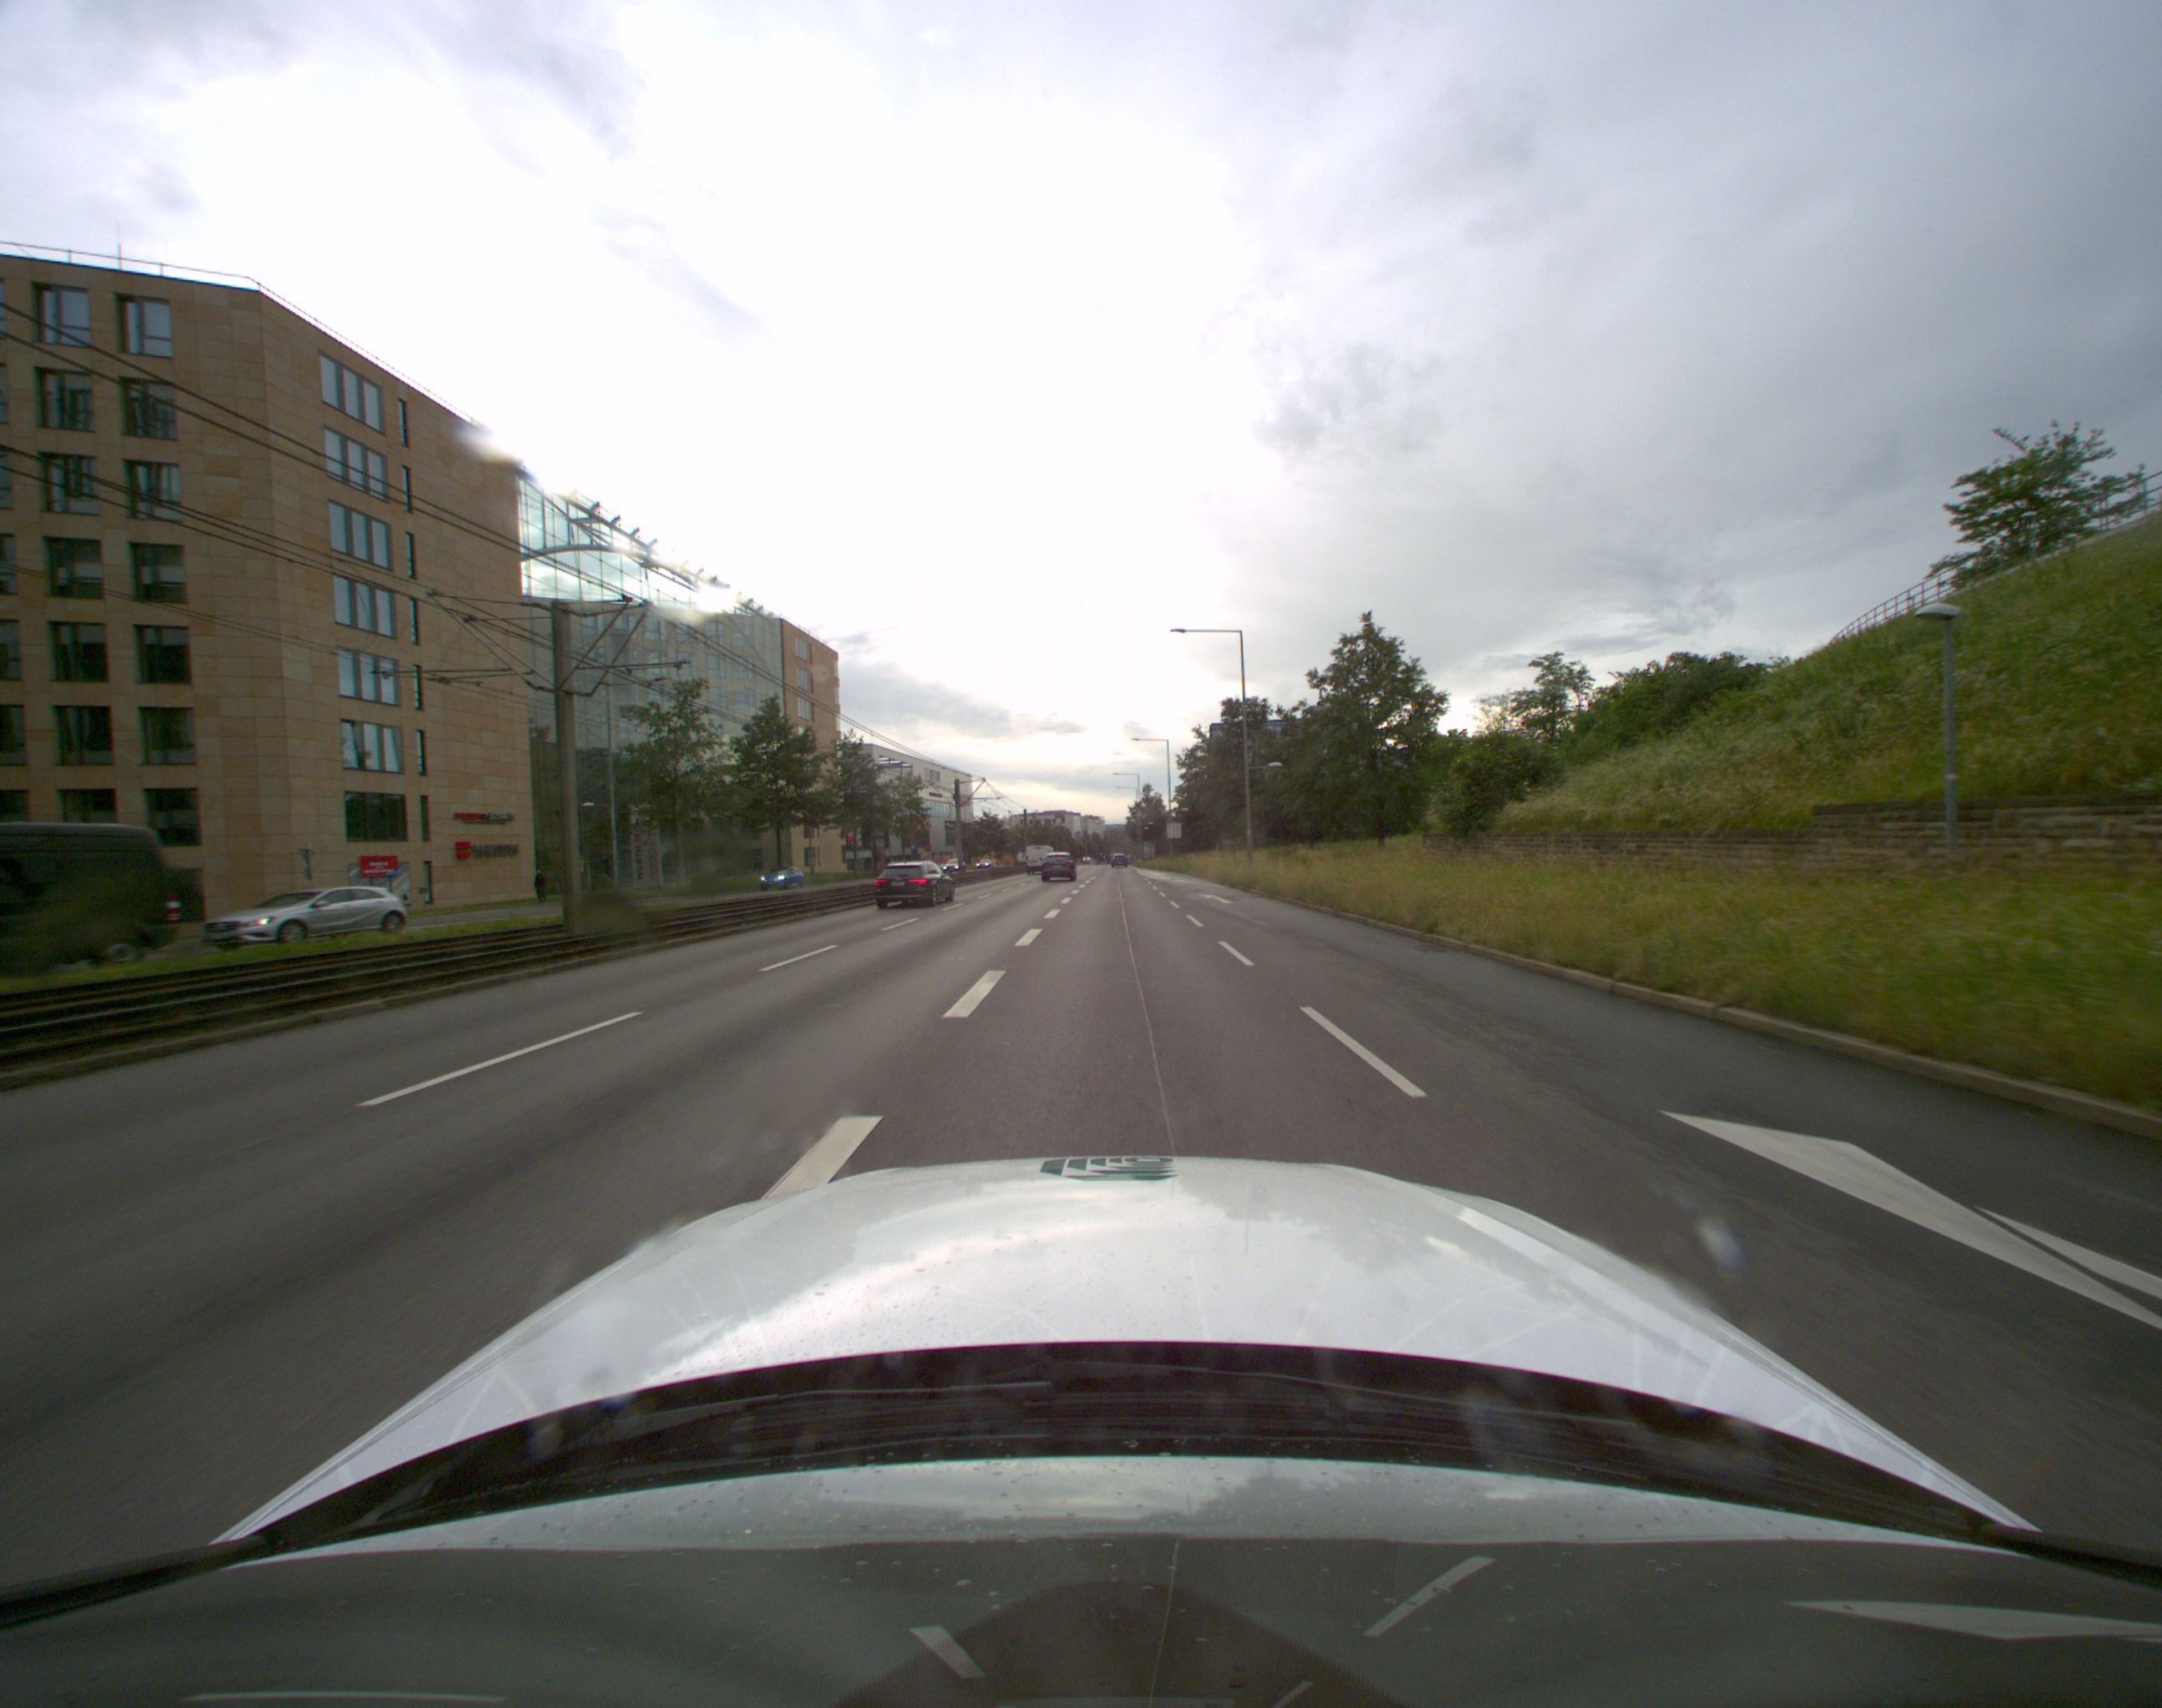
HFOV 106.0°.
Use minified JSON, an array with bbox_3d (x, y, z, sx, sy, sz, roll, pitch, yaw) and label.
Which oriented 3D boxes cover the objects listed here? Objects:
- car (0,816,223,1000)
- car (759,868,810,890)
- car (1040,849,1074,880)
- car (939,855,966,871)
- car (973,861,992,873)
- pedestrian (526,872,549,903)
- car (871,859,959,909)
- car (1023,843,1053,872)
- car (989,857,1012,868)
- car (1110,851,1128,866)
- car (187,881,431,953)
[{"bbox_3d":[-17.703,0.845,12.769,2.373,2.817,5.616,-1,0,3],"label":"car"},{"bbox_3d":[-20.262,1.707,55.738,1.833,1.454,4.027,-1,-2,3],"label":"car"},{"bbox_3d":[-1.355,0.585,47.423,1.917,1.710,4.096,-1,0,-1],"label":"car"},{"bbox_3d":[-13.111,0.954,83.175,1.764,1.502,4.204,-1,-2,4],"label":"car"},{"bbox_3d":[-14.583,1.880,120.738,1.833,1.486,4.657,-5,0,3],"label":"car"},{"bbox_3d":[-28.905,1.788,43.343,0.640,1.631,0.832,-1,-2,-1],"label":"pedestrian"},{"bbox_3d":[-5.308,0.906,26.699,1.779,1.413,4.806,-1,0,1],"label":"car"},{"bbox_3d":[-3.501,0.249,67.121,2.261,2.285,4.758,-1,0,-1],"label":"car"},{"bbox_3d":[-19.218,2.031,193.900,5.300,2.313,2.014,0,-2,-8],"label":"car"},{"bbox_3d":[4.235,0.488,91.243,1.784,1.591,3.998,-3,-1,-1],"label":"car"},{"bbox_3d":[-20.256,1.586,21.743,1.753,1.533,4.820,-1,0,2],"label":"car"}]
